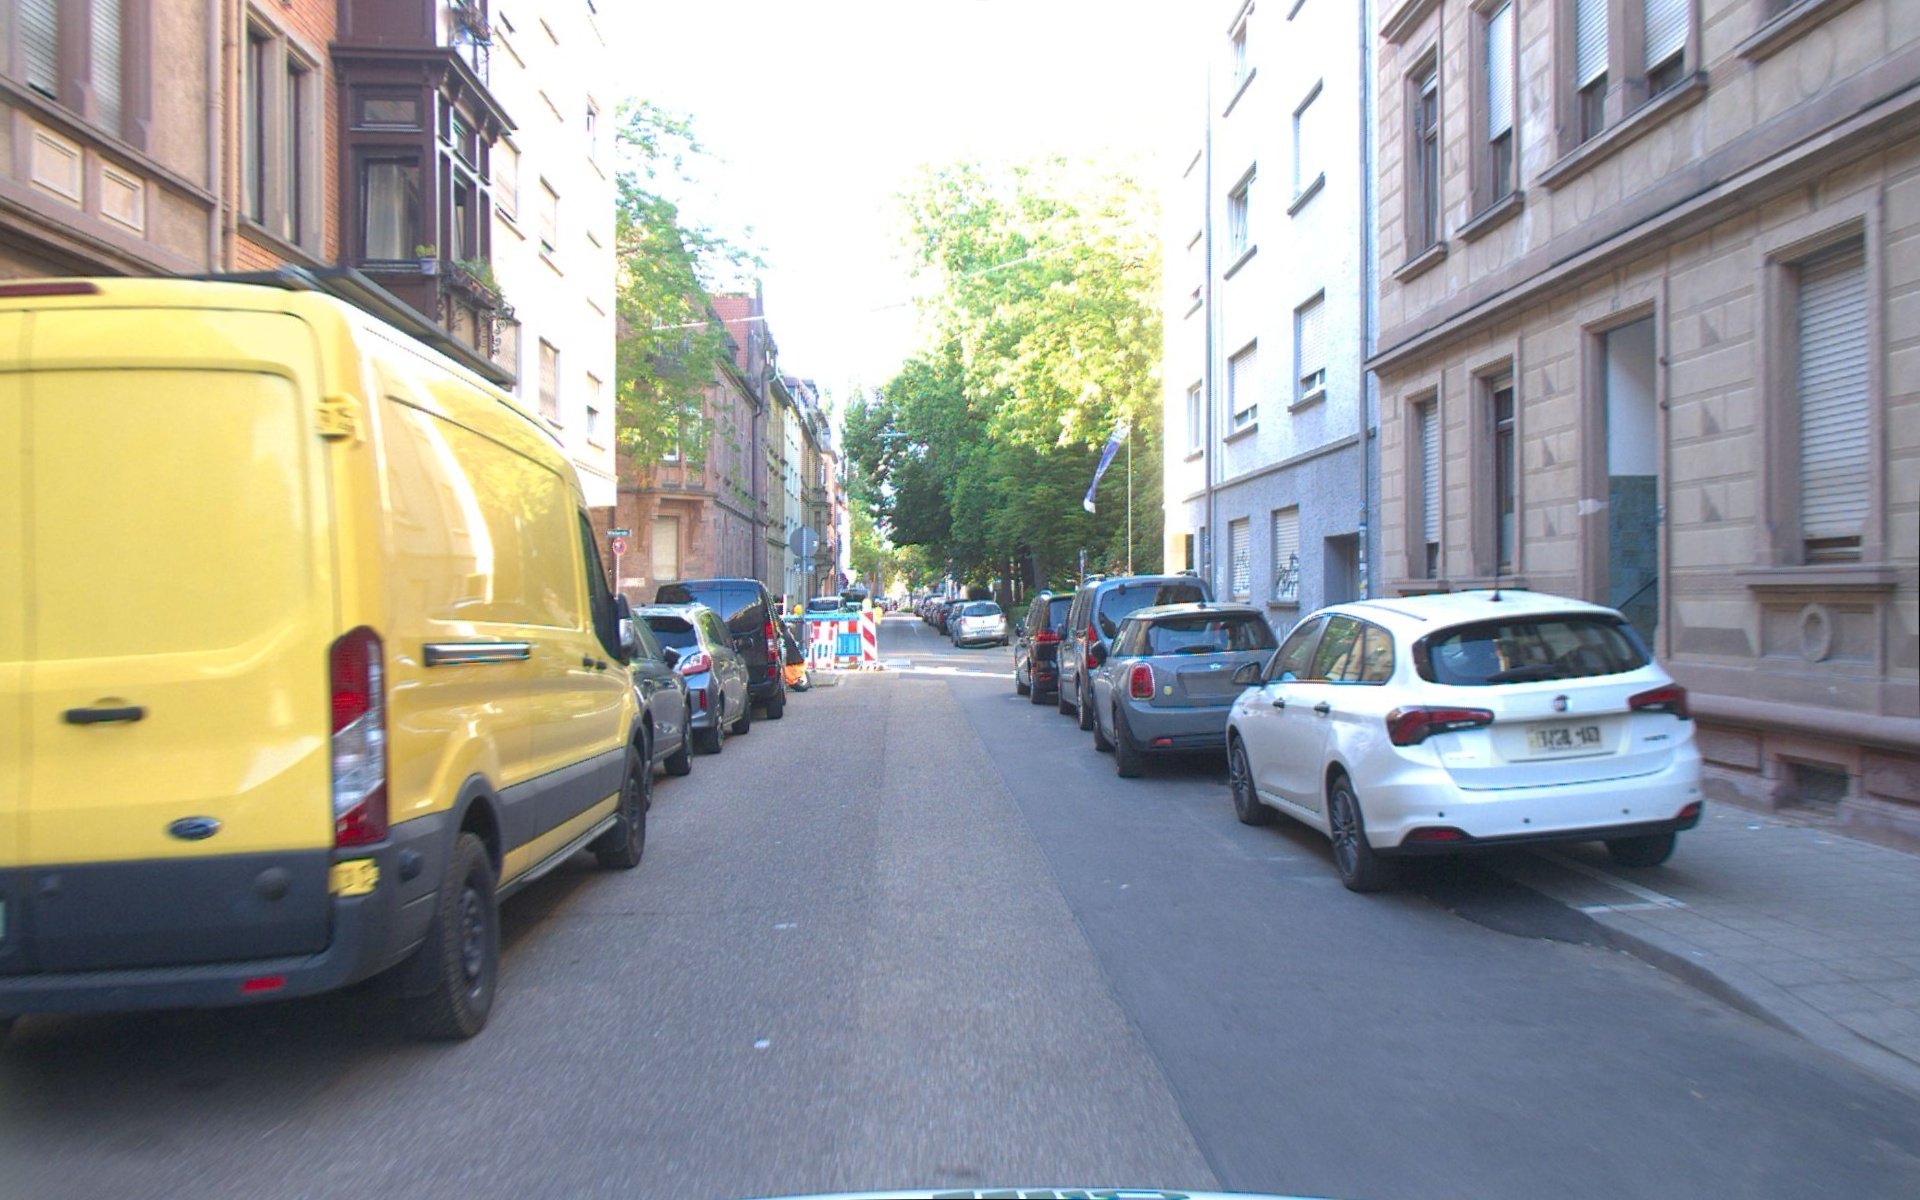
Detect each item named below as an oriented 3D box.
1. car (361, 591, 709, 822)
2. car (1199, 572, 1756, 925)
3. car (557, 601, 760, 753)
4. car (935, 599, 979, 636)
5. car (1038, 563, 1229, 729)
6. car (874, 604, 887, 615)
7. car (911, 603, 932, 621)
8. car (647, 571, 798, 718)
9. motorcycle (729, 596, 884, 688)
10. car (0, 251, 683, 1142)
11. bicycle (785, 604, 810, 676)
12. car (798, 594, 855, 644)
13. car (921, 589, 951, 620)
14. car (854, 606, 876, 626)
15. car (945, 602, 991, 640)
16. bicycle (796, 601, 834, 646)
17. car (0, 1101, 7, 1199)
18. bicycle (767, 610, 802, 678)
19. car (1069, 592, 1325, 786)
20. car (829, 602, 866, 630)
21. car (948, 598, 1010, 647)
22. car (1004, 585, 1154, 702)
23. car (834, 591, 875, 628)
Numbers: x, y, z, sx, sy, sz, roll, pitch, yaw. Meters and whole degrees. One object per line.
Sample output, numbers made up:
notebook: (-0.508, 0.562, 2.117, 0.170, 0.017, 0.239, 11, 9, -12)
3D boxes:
car: (-3.253, 0.733, 13.491, 1.954, 1.579, 3.998, -1, 0, -3)
car: (2.797, 0.691, 10.098, 1.719, 1.544, 4.440, -4, 0, -3)
car: (-3.167, 0.754, 17.996, 1.643, 1.475, 3.643, 1, 0, -2)
car: (-0.168, 0.816, 76.715, 1.856, 1.654, 3.997, 0, -1, -3)
car: (2.115, 0.516, 21.401, 1.719, 1.817, 4.721, -3, 0, -2)
car: (-11.867, 1.401, 246.430, 1.953, 1.676, 3.998, 0, -1, -2)
car: (-3.840, 1.196, 164.513, 1.953, 1.758, 3.998, -1, 0, -3)
car: (-3.131, 0.545, 22.501, 1.783, 1.797, 4.331, 0, 0, -5)
motorcycle: (-2.590, 0.690, 27.981, 2.484, 1.508, 0.895, 0, 0, -29)
car: (-2.790, 0.292, 7.756, 2.132, 2.551, 5.875, -2, 0, -3)
bicycle: (-3.034, 0.730, 30.877, 0.391, 1.249, 1.504, 0, 1, -3)
car: (-4.904, 0.707, 61.328, 1.844, 1.737, 3.999, -1, -1, -1)
car: (-1.863, 0.362, 127.182, 2.118, 2.295, 4.522, 0, -1, -3)
car: (-8.579, 1.459, 149.471, 1.911, 1.739, 3.997, 0, -1, -4)
car: (0.326, 0.892, 71.902, 1.804, 1.624, 3.998, 0, 0, -3)
bicycle: (-4.527, 0.713, 51.646, 0.672, 1.368, 2.490, 0, 0, -17)
car: (-2.708, 0.804, 1.196, 1.683, 1.437, 3.898, -5, 0, 1)
bicycle: (-3.129, 0.770, 29.549, 0.416, 1.160, 1.666, 3, 0, -1)
car: (2.124, 0.730, 15.961, 1.718, 1.478, 4.287, -4, 0, -1)
car: (-5.575, 0.781, 82.060, 1.736, 1.377, 3.998, 0, 0, -3)
car: (0.604, 0.728, 55.541, 1.690, 1.549, 3.996, -1, 0, -5)
car: (1.781, 0.646, 26.058, 1.862, 1.669, 4.388, 0, -1, -3)
car: (-6.304, 0.569, 99.352, 2.262, 2.151, 5.168, 0, -1, -1)
